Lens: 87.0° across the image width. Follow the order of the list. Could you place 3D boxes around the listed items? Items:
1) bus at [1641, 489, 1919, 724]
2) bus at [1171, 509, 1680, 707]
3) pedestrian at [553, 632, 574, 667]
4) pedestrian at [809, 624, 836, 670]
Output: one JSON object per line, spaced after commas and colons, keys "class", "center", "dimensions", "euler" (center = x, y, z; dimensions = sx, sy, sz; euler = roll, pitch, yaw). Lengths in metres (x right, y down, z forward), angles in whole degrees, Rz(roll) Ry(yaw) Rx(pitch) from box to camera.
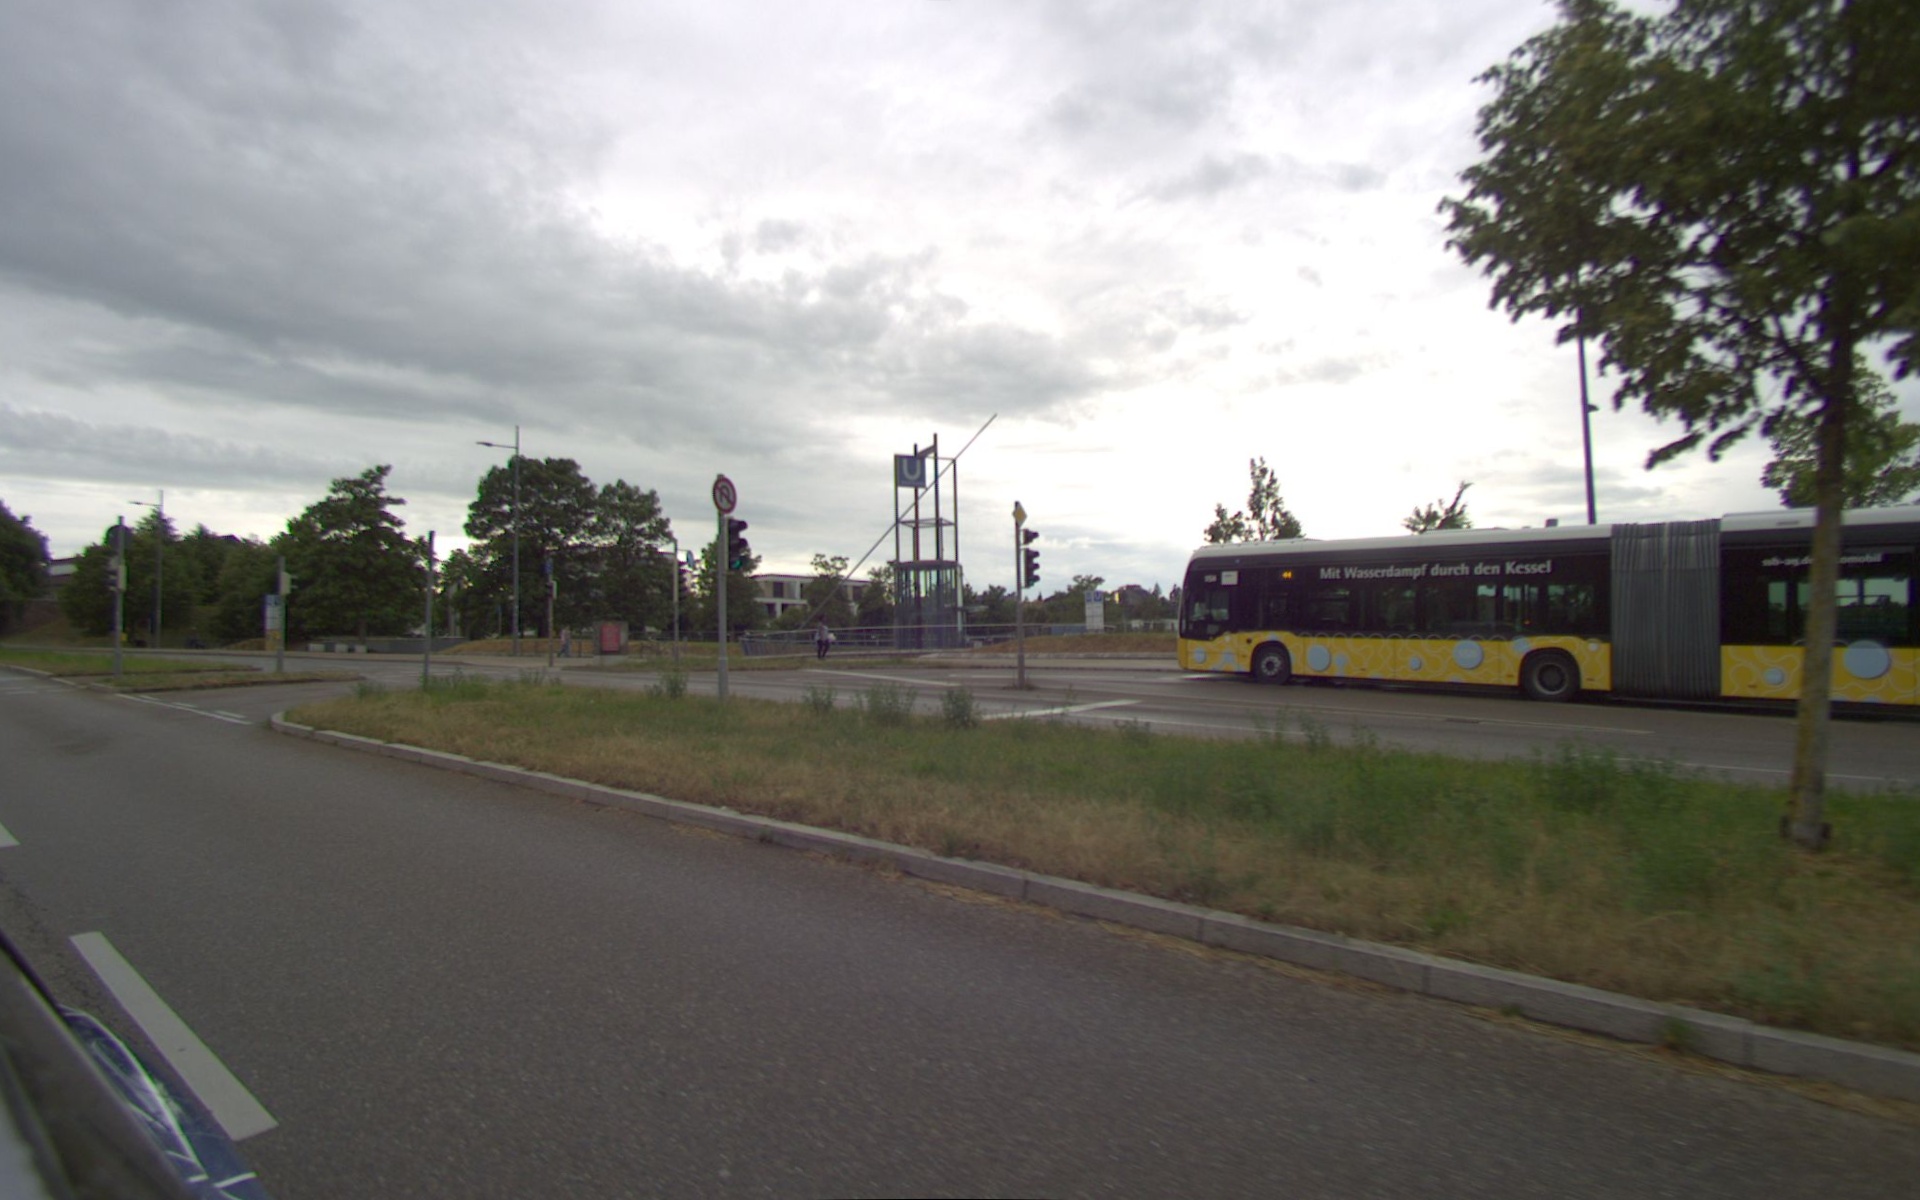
{"class": "bus", "center": [15.722, 0.092, 15.574], "dimensions": [2.787, 3.499, 8.242], "euler": [0, -1, -41]}
{"class": "bus", "center": [9.632, 0.198, 22.488], "dimensions": [2.787, 3.499, 9.987], "euler": [0, -1, -41]}
{"class": "pedestrian", "center": [-18.951, 2.373, 48.369], "dimensions": [0.811, 1.606, 0.608], "euler": [-4, -4, 36]}
{"class": "pedestrian", "center": [-4.885, 1.687, 36.070], "dimensions": [0.667, 1.606, 0.818], "euler": [-3, -3, 14]}
